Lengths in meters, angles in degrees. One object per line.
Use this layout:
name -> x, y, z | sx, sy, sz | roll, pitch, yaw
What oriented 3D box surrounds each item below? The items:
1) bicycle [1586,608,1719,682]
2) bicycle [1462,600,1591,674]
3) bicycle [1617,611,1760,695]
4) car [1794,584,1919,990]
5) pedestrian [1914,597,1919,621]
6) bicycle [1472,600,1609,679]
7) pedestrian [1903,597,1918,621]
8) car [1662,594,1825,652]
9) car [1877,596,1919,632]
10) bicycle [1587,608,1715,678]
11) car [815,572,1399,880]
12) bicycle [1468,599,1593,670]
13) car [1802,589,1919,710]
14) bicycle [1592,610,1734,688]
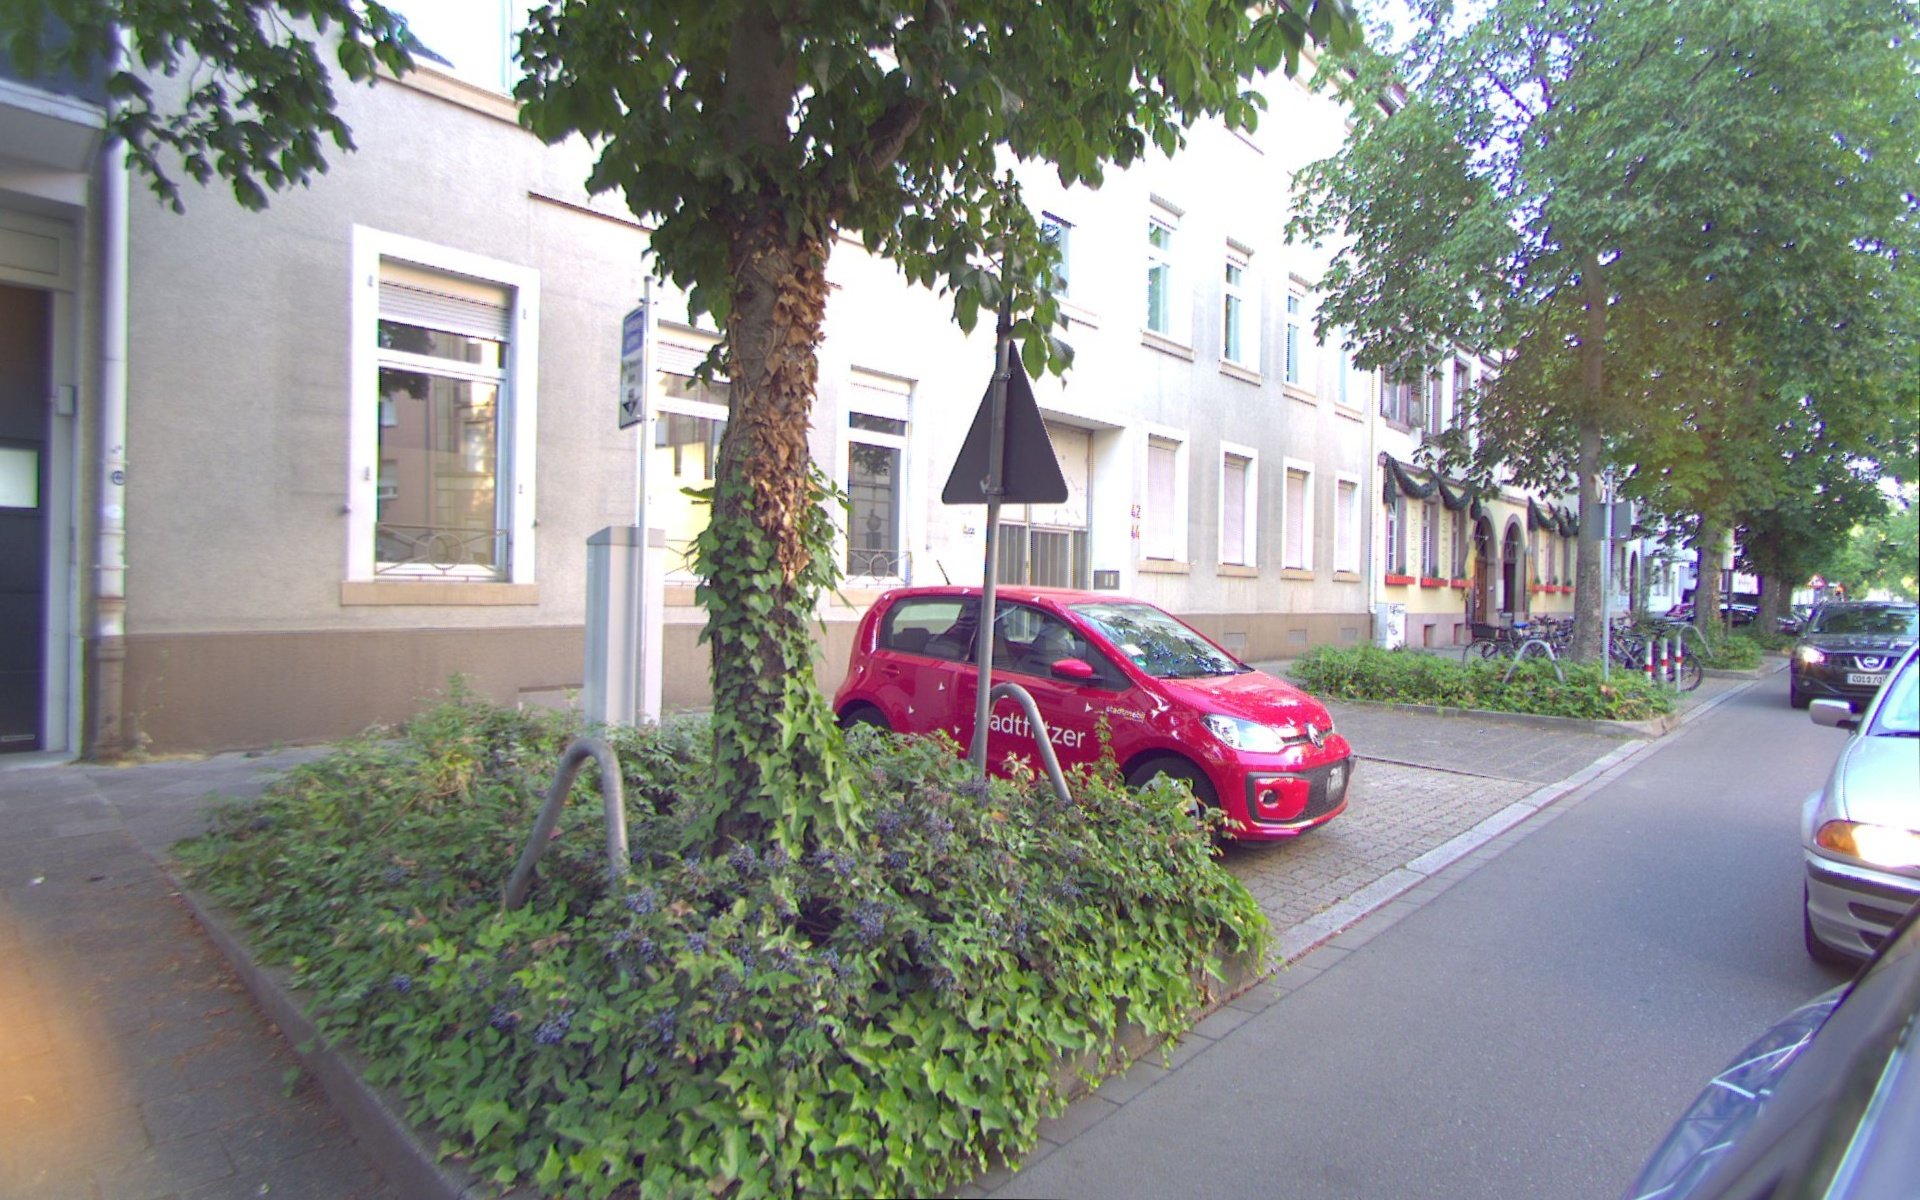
bicycle -> 12.989, 0.816, 19.019 | 2.019, 1.242, 0.528 | 2, 1, 39
bicycle -> 10.299, 0.648, 18.438 | 2.014, 1.242, 0.529 | 2, 1, 33
bicycle -> 11.851, 0.829, 16.539 | 1.835, 1.242, 0.529 | 2, 1, 33
car -> 5.433, 0.686, 4.692 | 4.358, 1.460, 1.710 | 0, 1, -41
pedestrian -> 73.866, 0.680, 77.726 | 0.708, 1.877, 0.668 | 1, 0, 36
bicycle -> 10.083, 0.656, 17.628 | 2.014, 1.242, 0.529 | 2, 1, 33
pedestrian -> 73.885, 0.693, 78.668 | 0.708, 1.877, 0.668 | 1, 0, 36
car -> 26.613, 0.728, 34.458 | 4.232, 1.761, 1.715 | 2, 1, 43
car -> 42.875, 0.607, 45.811 | 3.934, 1.571, 1.803 | 0, 1, -44
bicycle -> 13.470, 0.806, 19.772 | 2.019, 1.242, 0.528 | 2, 1, 39
car -> 0.811, 0.587, 6.826 | 3.609, 1.495, 1.639 | 2, 1, 42
bicycle -> 10.930, 0.635, 19.432 | 2.017, 1.242, 0.529 | 2, 1, 37
car -> 13.892, 0.657, 15.031 | 1.802, 1.571, 3.935 | 2, 1, 45
bicycle -> 12.354, 0.830, 17.825 | 2.019, 1.242, 0.528 | 2, 1, 39
